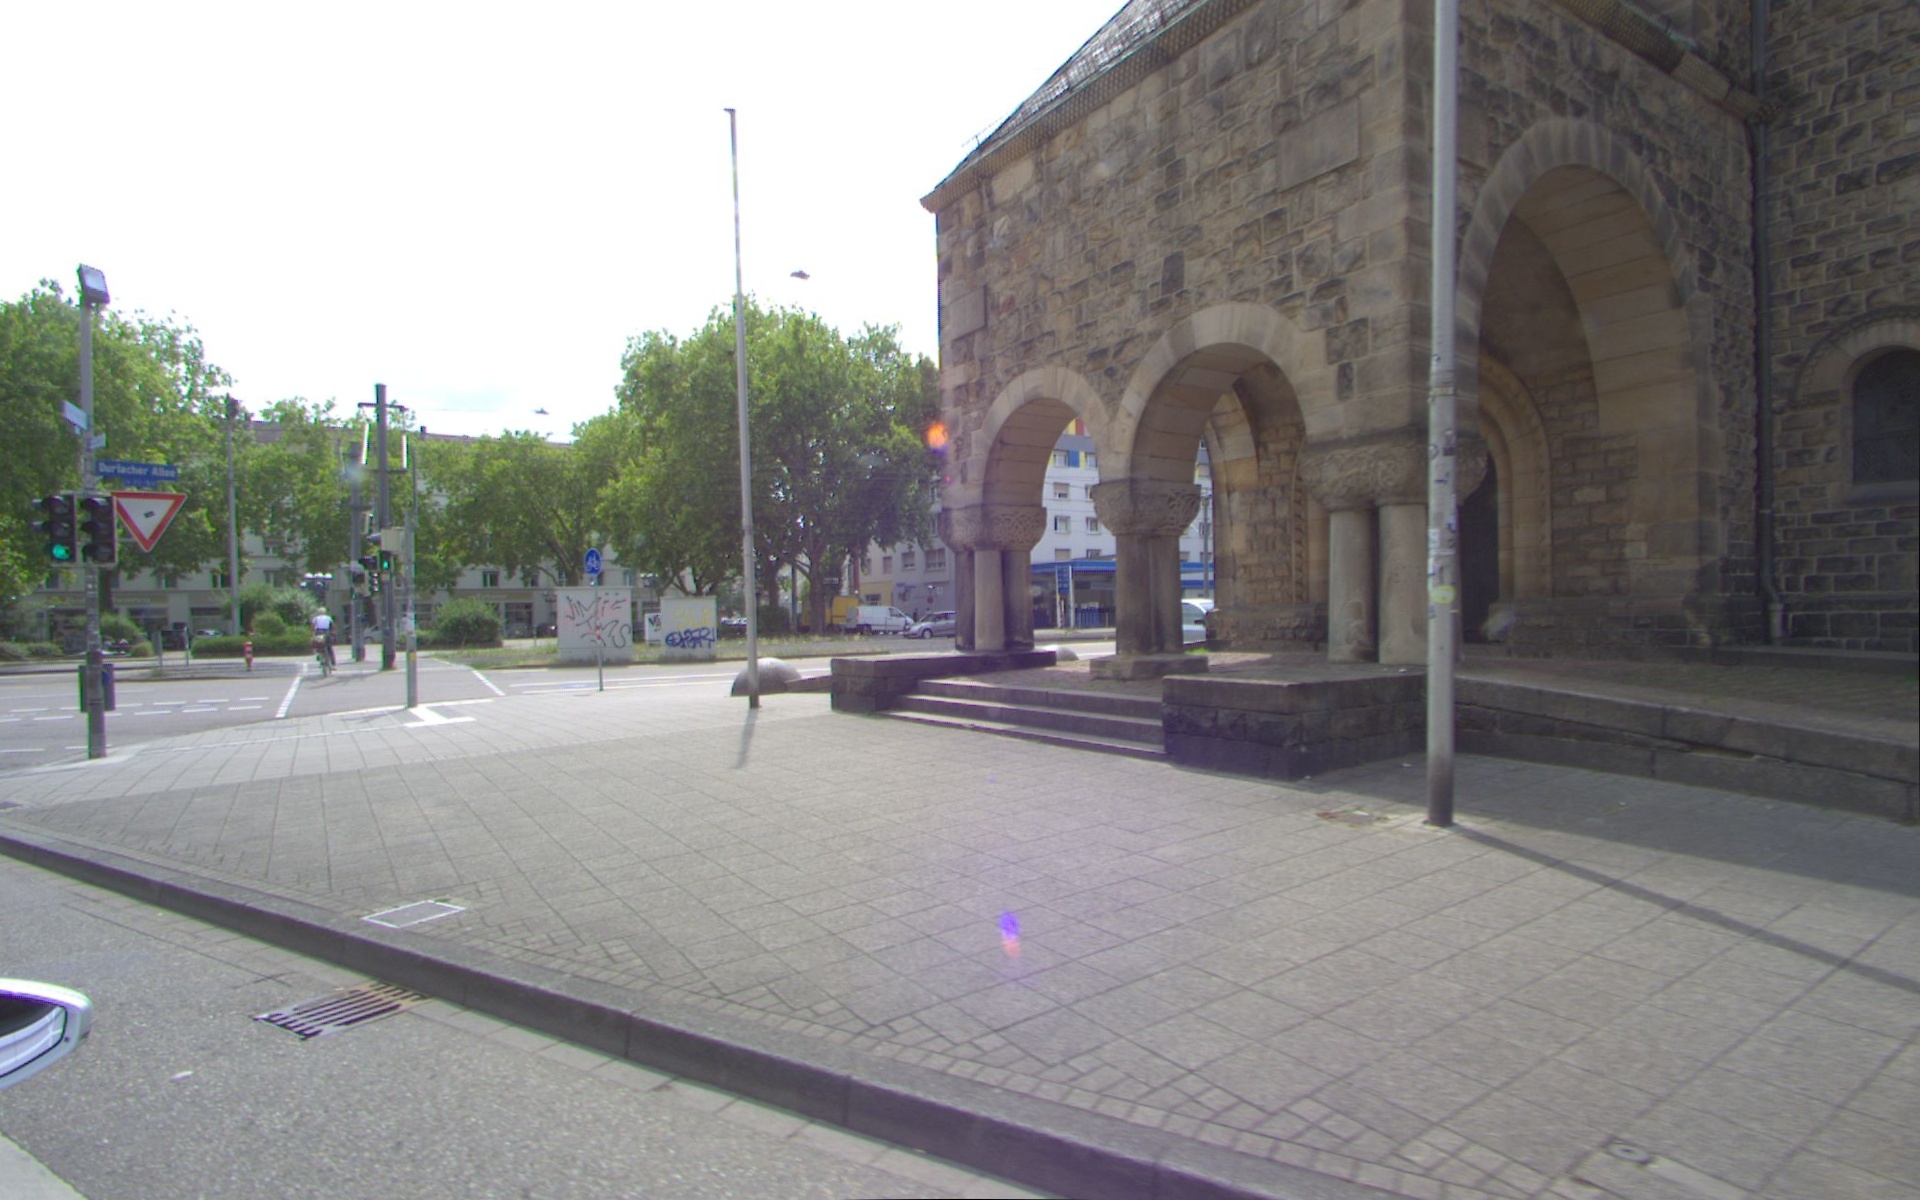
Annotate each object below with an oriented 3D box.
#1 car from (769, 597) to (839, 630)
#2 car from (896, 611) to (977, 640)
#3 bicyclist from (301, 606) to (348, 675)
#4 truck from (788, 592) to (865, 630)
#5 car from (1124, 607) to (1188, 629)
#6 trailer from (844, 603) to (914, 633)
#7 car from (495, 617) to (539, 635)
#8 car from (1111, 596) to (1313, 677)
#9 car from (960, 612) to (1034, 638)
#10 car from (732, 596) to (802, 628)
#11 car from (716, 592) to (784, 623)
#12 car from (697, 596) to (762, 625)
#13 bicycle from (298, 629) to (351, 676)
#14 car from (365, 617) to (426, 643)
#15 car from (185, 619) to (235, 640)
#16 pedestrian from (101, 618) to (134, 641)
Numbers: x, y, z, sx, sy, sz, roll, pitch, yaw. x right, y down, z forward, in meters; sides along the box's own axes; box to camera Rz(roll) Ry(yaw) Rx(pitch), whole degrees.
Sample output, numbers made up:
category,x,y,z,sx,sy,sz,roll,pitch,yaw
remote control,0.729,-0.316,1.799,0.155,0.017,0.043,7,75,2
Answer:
category,x,y,z,sx,sy,sz,roll,pitch,yaw
car,-12.925,1.129,83.099,5.269,2.618,2.165,0,-1,-36
car,-1.223,1.334,52.814,3.941,1.418,1.617,0,-1,-30
bicyclist,-15.907,1.000,25.098,0.893,1.706,0.753,0,0,-26
truck,-9.844,0.789,73.198,3.040,2.611,6.469,-1,0,-34
car,14.784,1.373,75.456,4.554,1.535,1.985,0,-2,-31
trailer,-5.409,1.196,67.187,4.376,1.951,1.843,0,0,-33
car,-38.581,2.235,87.192,3.949,1.523,1.760,-1,0,37
car,5.355,0.736,21.763,1.992,1.563,4.003,-1,0,-33
car,2.192,1.471,58.798,4.020,1.433,1.751,0,-1,-29
car,-16.523,0.987,85.815,5.269,2.618,2.482,0,-1,-36
car,-18.441,0.681,88.042,5.269,2.618,2.482,0,-1,-36
car,-21.231,0.978,92.313,5.269,2.618,2.482,0,-1,-36
bicycle,-15.900,1.301,25.106,0.892,1.089,1.962,0,0,-26
car,-43.480,2.300,77.149,3.946,1.908,1.846,-1,0,-33
car,-56.218,2.189,75.018,3.949,1.523,1.986,-1,0,37
pedestrian,-47.319,1.653,56.253,1.423,1.252,1.087,-1,1,37
